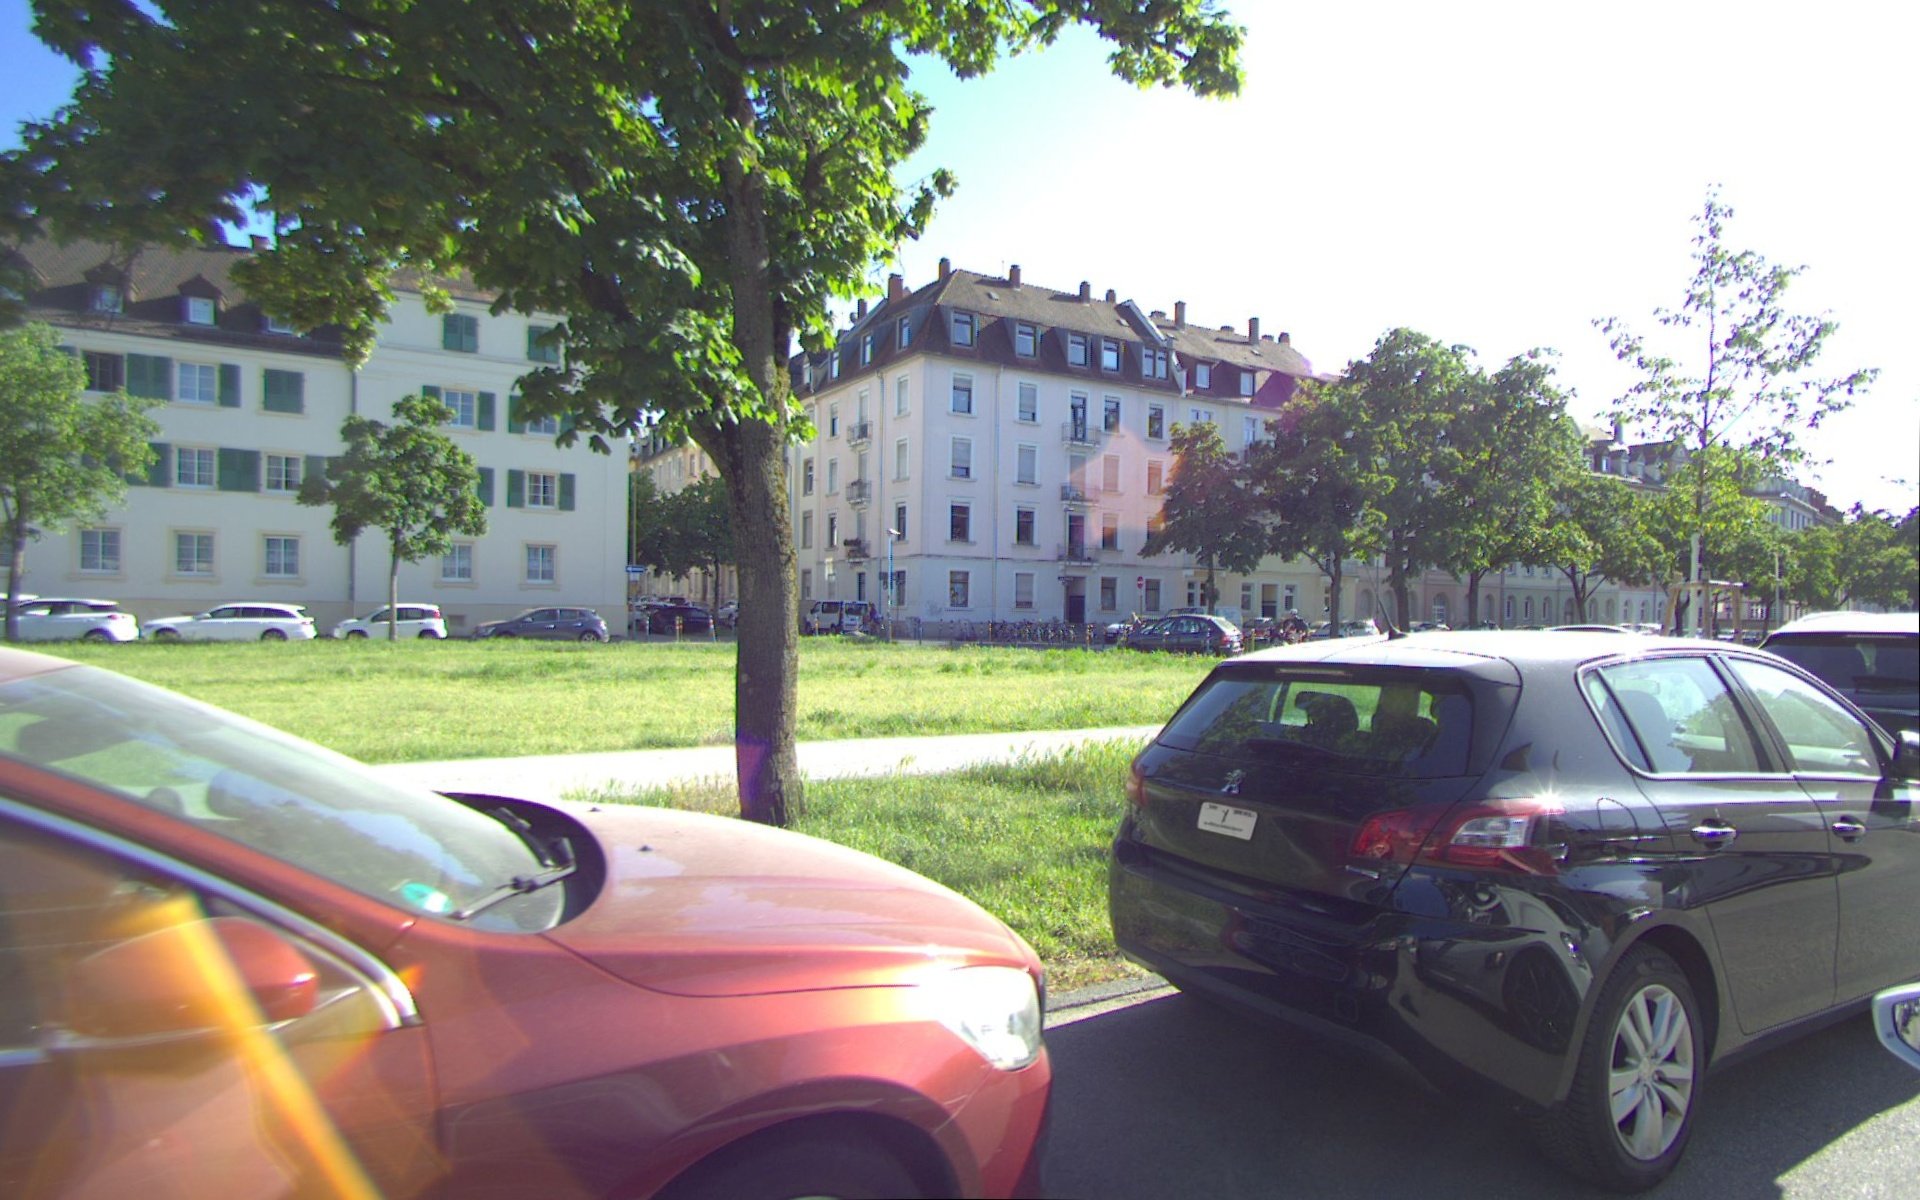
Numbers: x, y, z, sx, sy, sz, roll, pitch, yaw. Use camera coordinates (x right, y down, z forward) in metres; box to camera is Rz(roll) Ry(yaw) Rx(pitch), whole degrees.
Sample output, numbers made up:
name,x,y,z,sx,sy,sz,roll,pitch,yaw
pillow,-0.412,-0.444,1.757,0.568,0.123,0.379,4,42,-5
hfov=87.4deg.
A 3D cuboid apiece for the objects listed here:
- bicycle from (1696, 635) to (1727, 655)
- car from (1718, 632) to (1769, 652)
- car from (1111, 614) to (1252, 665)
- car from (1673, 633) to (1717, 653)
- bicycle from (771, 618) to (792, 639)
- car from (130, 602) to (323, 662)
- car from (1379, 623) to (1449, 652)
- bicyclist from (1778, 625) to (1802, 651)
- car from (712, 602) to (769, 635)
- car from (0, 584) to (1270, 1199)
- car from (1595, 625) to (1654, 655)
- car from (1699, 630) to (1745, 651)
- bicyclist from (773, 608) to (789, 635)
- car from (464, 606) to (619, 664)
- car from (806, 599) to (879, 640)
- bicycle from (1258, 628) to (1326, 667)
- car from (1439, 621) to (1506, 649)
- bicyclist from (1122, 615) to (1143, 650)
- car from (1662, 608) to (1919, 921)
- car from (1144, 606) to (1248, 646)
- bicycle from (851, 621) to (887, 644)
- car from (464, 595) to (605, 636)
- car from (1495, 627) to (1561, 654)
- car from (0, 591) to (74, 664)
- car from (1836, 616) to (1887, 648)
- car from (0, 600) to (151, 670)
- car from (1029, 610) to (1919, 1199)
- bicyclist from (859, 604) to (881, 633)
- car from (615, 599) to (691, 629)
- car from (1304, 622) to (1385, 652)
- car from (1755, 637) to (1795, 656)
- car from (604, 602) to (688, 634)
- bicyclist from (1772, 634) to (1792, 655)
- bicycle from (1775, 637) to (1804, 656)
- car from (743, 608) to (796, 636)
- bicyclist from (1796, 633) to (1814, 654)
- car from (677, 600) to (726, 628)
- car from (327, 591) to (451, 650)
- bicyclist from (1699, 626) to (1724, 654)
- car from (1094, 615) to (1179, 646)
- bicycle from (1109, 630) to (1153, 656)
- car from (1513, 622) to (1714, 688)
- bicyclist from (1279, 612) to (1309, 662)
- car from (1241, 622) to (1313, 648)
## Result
name,x,y,z,sx,sy,sz,roll,pitch,yaw
bicycle,50.838,3.069,67.942,2.607,1.269,0.805,3,0,-34
car,61.186,3.251,78.435,3.729,1.459,1.838,1,-1,-29
car,7.470,1.304,34.027,4.279,1.597,1.922,0,-1,37
car,54.383,3.183,74.291,3.300,1.459,1.374,1,0,-29
bicycle,-9.314,1.486,52.411,0.524,1.030,1.474,1,0,-32
car,-25.099,1.090,34.664,5.097,1.911,2.144,1,-1,-30
car,26.141,2.149,57.817,4.036,1.547,1.685,1,-1,-32
bicyclist,61.949,2.841,74.958,1.433,1.861,0.937,2,-2,-31
car,-14.557,1.199,66.444,1.979,2.000,5.006,1,0,-34
car,-1.795,0.756,1.555,4.614,1.511,1.747,1,-2,-31
car,45.866,2.743,69.342,4.412,1.933,1.727,1,-1,-32
car,66.828,3.549,88.130,3.953,1.772,1.850,1,-1,-31
bicyclist,-9.351,1.139,52.483,0.528,1.382,0.778,1,0,-32
car,-14.336,1.188,34.488,4.652,1.844,2.147,1,-1,-31
car,-6.288,1.009,53.278,2.117,2.040,4.536,1,0,-32
bicycle,11.546,1.645,34.987,2.118,1.275,0.712,1,0,35
car,30.801,2.106,60.305,4.306,1.570,1.623,1,-1,-32
bicyclist,8.963,1.679,52.135,0.792,1.826,0.670,1,0,-30
car,6.887,0.918,6.677,4.682,1.631,1.812,1,-2,-30
car,11.704,1.301,49.757,5.042,1.897,2.070,1,-1,-32
bicycle,-4.302,1.542,47.409,0.653,1.030,1.958,1,0,-41
car,-16.683,0.638,39.446,4.900,1.504,1.984,1,-1,-30
car,35.956,2.550,63.587,4.478,1.570,1.747,1,-1,-32
car,-31.310,0.814,31.255,5.198,2.245,2.517,1,-1,-31
car,80.594,2.834,89.775,5.563,2.780,1.905,1,0,-32
car,-25.490,0.960,28.065,4.210,1.844,2.224,1,-1,-32
car,2.621,0.875,4.121,4.418,1.539,1.864,1,-3,-31
bicyclist,-4.253,0.868,47.369,0.618,1.382,0.867,1,0,-39
car,-16.554,0.743,54.229,3.577,1.541,1.693,1,-1,-34
car,20.982,2.018,54.765,4.646,1.582,1.685,1,-1,-32
car,65.206,3.686,80.364,3.196,1.459,1.509,1,-1,-32
car,-17.581,1.006,56.206,4.195,1.724,1.692,1,-1,-32
bicyclist,60.164,3.263,73.499,0.931,1.455,0.735,3,-7,-30
bicycle,61.864,3.476,74.925,2.605,1.269,0.806,3,0,-31
car,-11.869,1.358,62.294,1.917,1.590,3.847,1,0,-33
bicyclist,61.076,3.140,72.581,0.931,1.456,0.734,2,-2,-30
car,-19.119,1.019,74.057,2.130,2.009,4.867,1,0,-32
car,-20.960,0.761,37.015,3.851,2.040,1.657,2,-1,-30
bicyclist,50.829,2.686,67.935,1.435,1.861,0.935,2,-2,-35
car,9.620,1.676,54.643,4.405,1.608,1.982,1,-1,-34
bicycle,8.878,2.219,52.108,2.231,1.279,0.837,1,0,-30
car,17.103,1.374,26.384,4.278,1.428,1.913,1,1,37
bicyclist,11.623,1.267,34.937,0.864,1.713,0.630,0,-1,35
car,16.463,1.800,52.109,3.487,1.296,1.685,1,-1,-32
